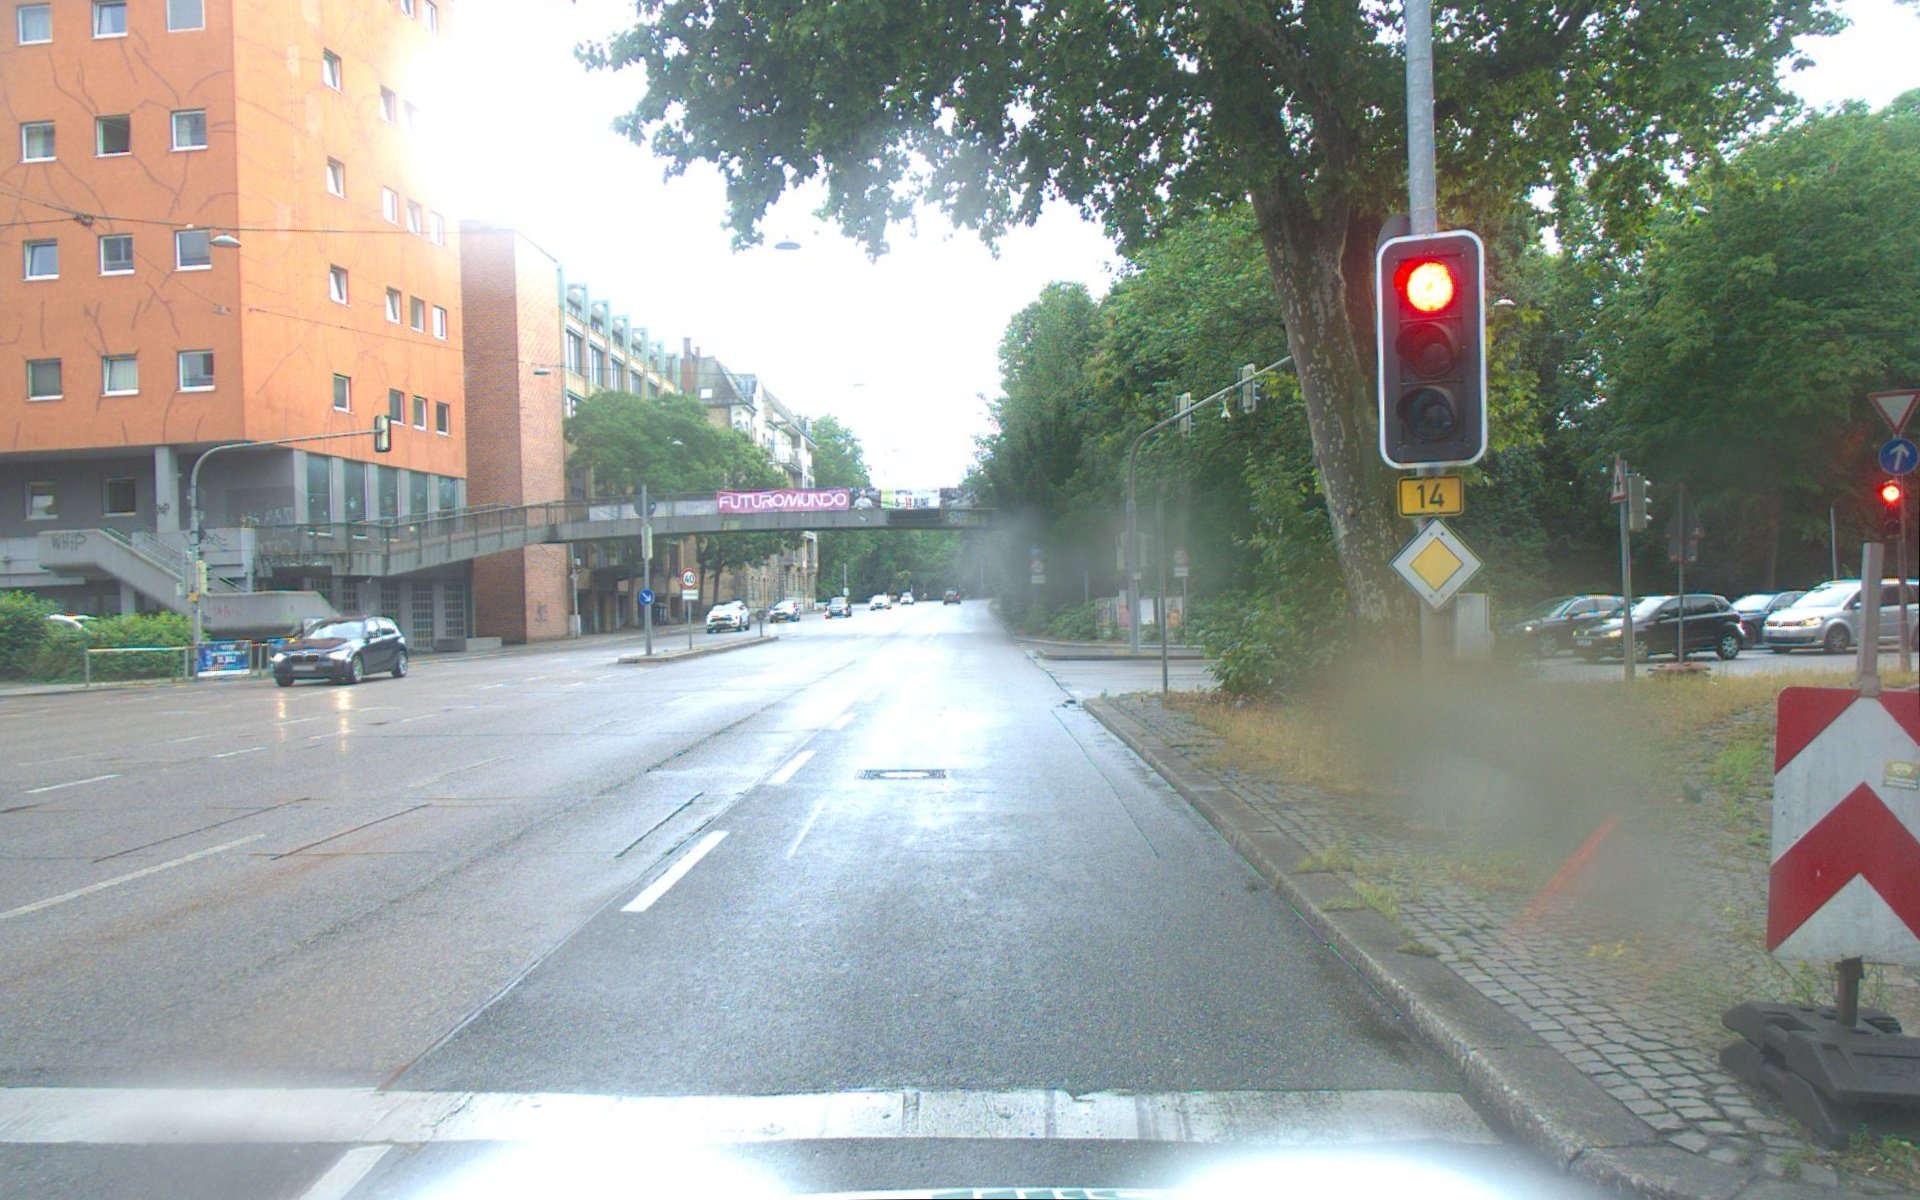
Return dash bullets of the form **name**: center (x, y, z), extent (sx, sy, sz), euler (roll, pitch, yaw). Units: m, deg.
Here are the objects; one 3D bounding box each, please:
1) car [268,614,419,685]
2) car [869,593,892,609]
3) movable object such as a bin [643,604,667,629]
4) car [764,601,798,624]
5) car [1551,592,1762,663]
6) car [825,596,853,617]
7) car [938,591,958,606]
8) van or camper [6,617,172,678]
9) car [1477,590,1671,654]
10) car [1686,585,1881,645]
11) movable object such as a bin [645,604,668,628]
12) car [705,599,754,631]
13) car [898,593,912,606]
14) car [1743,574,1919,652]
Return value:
- **car**: center (-13.701, 1.065, 37.029), extent (1.651, 1.444, 4.215), euler (-2, -1, 2)
- **car**: center (-7.457, 0.118, 155.537), extent (1.793, 1.418, 4.405), euler (-3, 0, 1)
- **movable object such as a bin**: center (-19.683, 1.055, 106.812), extent (1.256, 1.545, 1.273), euler (-1, 0, 1)
- **car**: center (-12.210, 0.828, 112.909), extent (1.673, 1.490, 4.042), euler (-2, 0, 2)
- **car**: center (15.372, 0.601, 36.519), extent (4.119, 1.486, 1.785), euler (1, 0, -17)
- **car**: center (-8.786, 0.469, 120.444), extent (1.648, 1.461, 3.862), euler (-2, 0, 0)
- **car**: center (-1.323, -0.162, 180.976), extent (1.962, 1.672, 4.377), euler (-1, 0, 2)
- **van or camper**: center (-25.744, 1.397, 48.982), extent (3.902, 1.656, 1.915), euler (-1, 0, 5)
- **car**: center (14.940, 0.525, 40.294), extent (4.131, 1.466, 1.941), euler (1, 0, -17)
- **car**: center (20.826, 0.385, 41.855), extent (4.361, 1.427, 1.821), euler (1, 0, -17)
- **movable object such as a bin**: center (-19.844, 1.045, 108.172), extent (1.272, 1.545, 1.214), euler (-1, 0, 1)
- **car**: center (-12.439, 0.785, 89.382), extent (1.850, 1.638, 4.457), euler (-1, 0, 2)
- **car**: center (-6.727, -0.076, 202.389), extent (1.568, 1.525, 3.712), euler (-3, 0, 1)
- **car**: center (20.623, 0.310, 38.517), extent (4.129, 1.709, 1.898), euler (1, 0, -17)
